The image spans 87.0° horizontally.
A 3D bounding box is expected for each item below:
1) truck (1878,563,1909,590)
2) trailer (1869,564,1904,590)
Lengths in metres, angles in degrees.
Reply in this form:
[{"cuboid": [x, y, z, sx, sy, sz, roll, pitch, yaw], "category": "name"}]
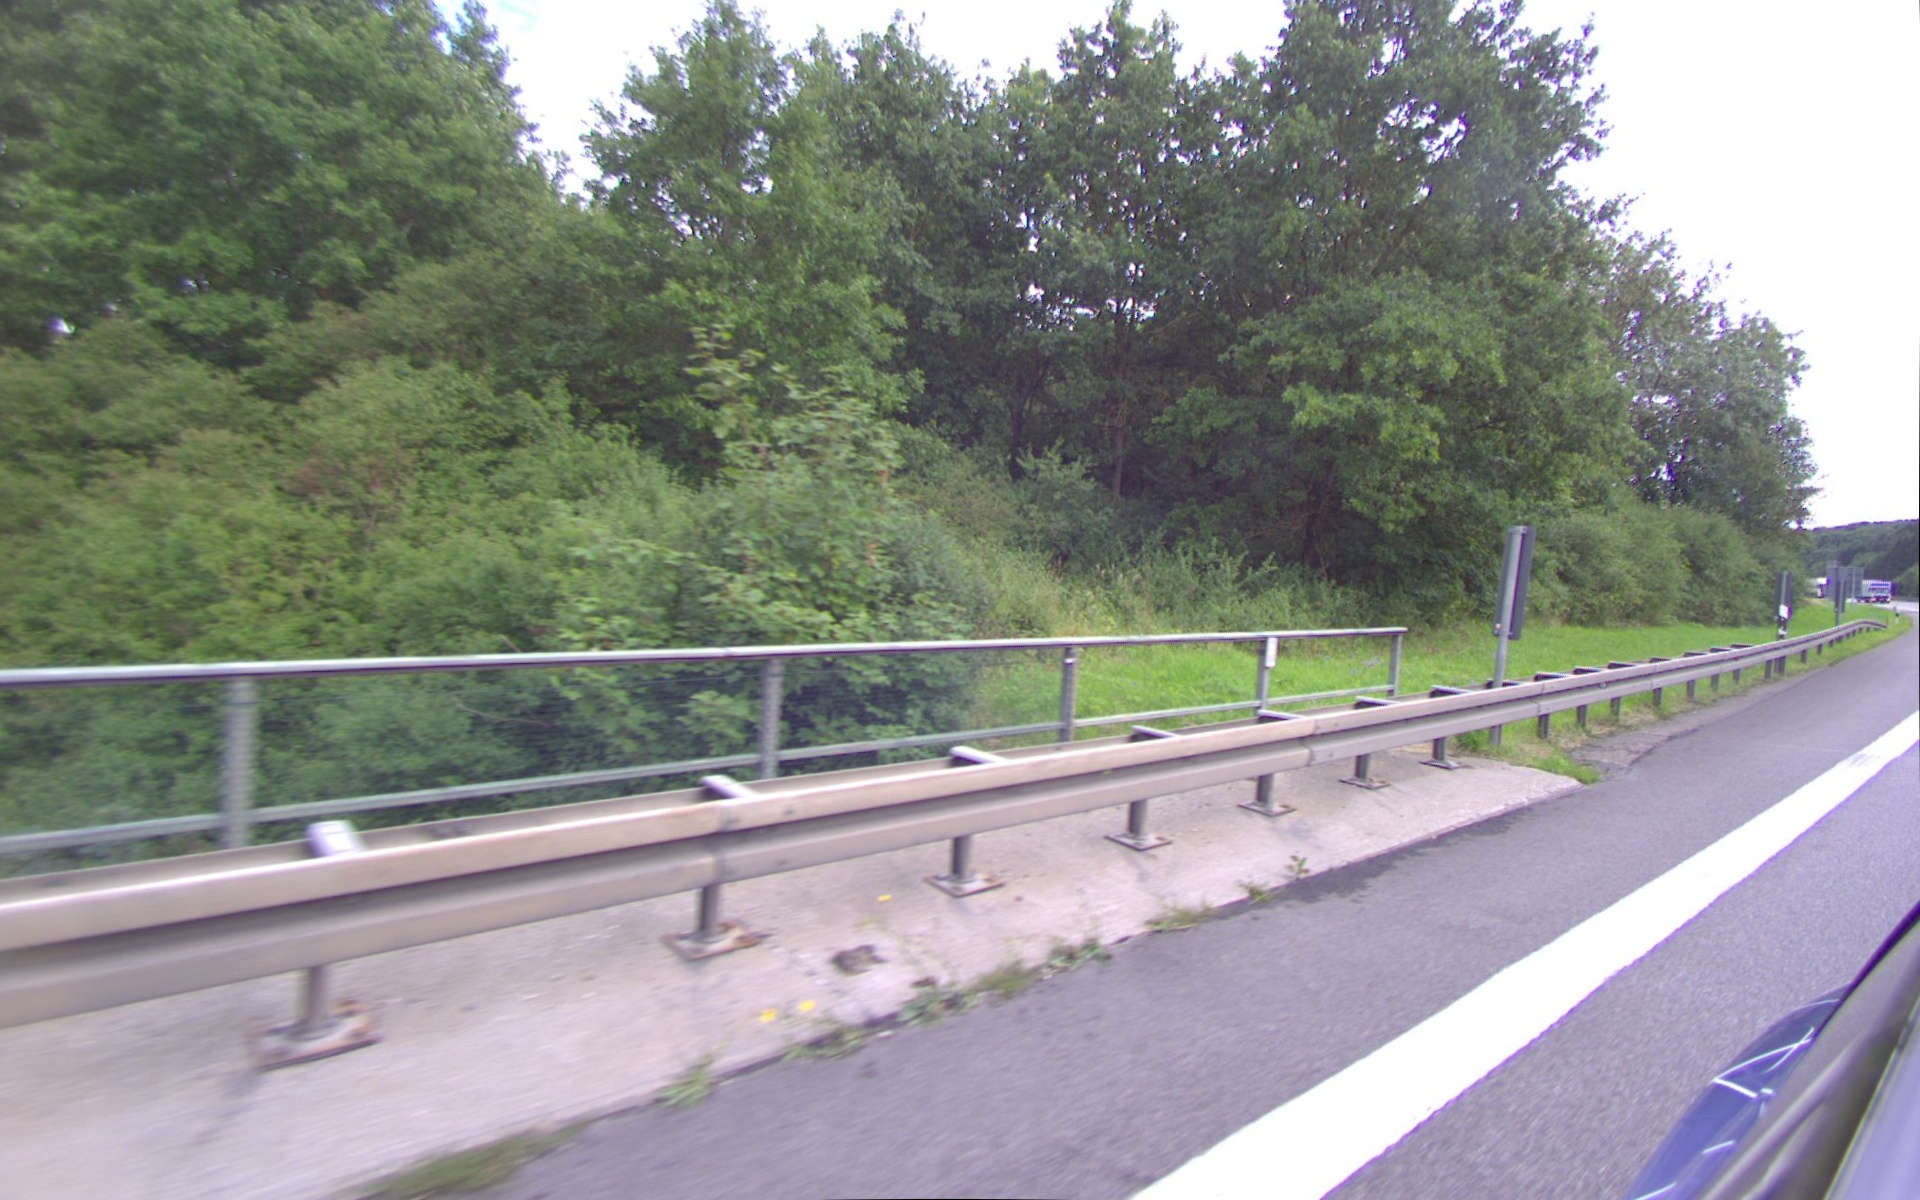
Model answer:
[{"cuboid": [144.659, -3.620, 156.916, 2.781, 4.021, 5.863, 1, 1, 36], "category": "truck"}, {"cuboid": [148.626, -3.738, 162.426, 2.772, 4.004, 11.152, 1, 2, 36], "category": "trailer"}]
